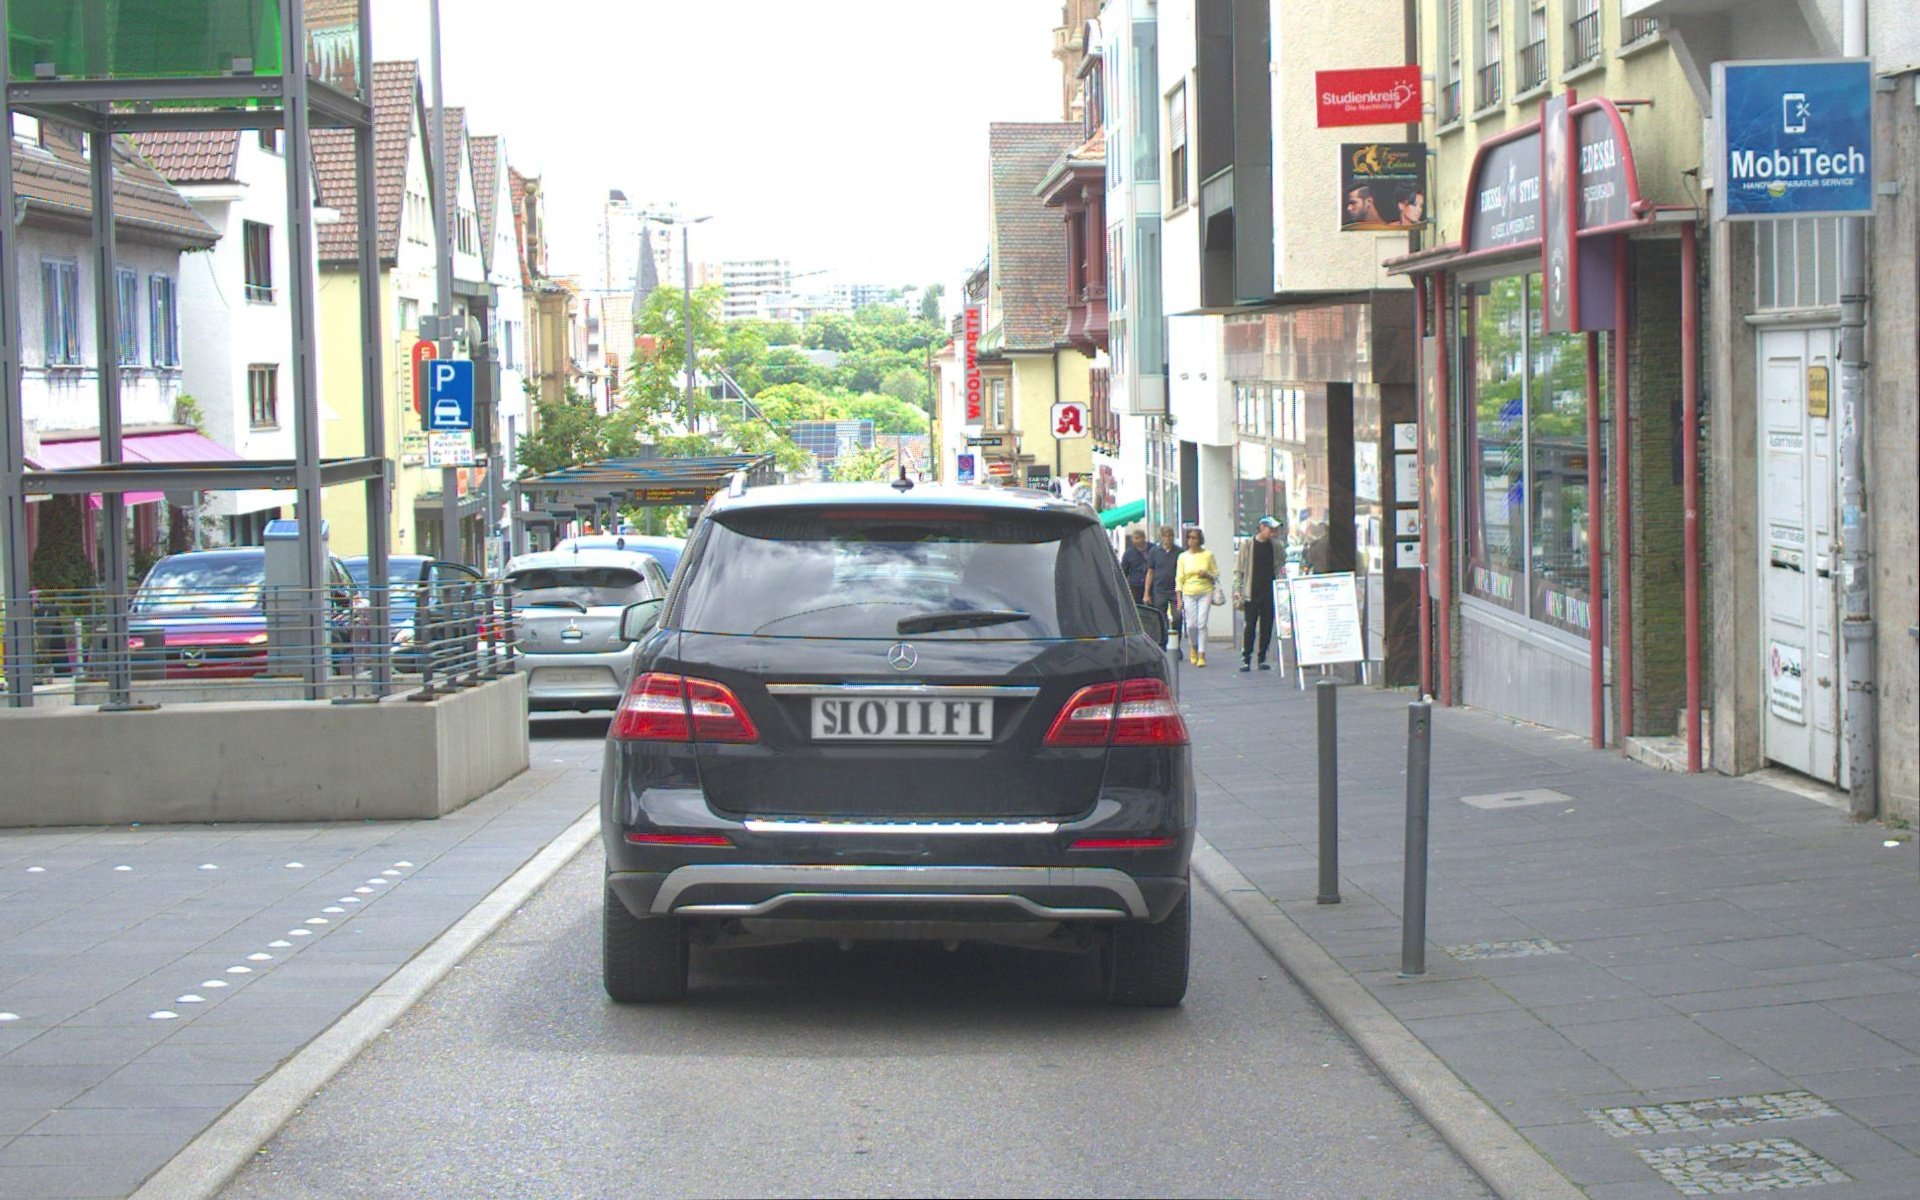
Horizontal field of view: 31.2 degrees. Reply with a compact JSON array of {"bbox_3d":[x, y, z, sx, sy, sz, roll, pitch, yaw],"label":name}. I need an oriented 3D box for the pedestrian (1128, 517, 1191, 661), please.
[{"bbox_3d":[2.450,-0.139,42.298,0.711,1.747,0.785,0,1,-1],"label":"pedestrian"}]

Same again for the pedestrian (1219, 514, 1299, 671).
[{"bbox_3d":[3.303,-0.085,37.955,0.662,1.683,0.543,-4,1,-7],"label":"pedestrian"}]

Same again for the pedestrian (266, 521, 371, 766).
[{"bbox_3d":[-4.453,0.285,23.899,0.533,1.666,0.901,0,1,1],"label":"pedestrian"}]

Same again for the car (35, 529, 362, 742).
[{"bbox_3d":[-5.944,0.236,27.292,1.739,1.537,4.193,1,1,-1],"label":"car"}]

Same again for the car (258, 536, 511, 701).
[{"bbox_3d":[-5.620,0.133,33.983,1.739,1.470,3.884,1,1,1],"label":"car"}]

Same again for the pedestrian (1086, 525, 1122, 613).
[{"bbox_3d":[2.758,-0.595,65.806,0.573,1.683,0.566,1,0,-7],"label":"pedestrian"}]

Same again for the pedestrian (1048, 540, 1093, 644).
[{"bbox_3d":[1.795,-0.137,55.993,0.621,1.683,0.566,1,0,-7],"label":"pedestrian"}]

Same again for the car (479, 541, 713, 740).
[{"bbox_3d":[-2.949,0.293,28.462,1.620,1.527,3.670,1,1,-1],"label":"car"}]

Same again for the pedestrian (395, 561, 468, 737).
[{"bbox_3d":[-4.386,0.403,28.547,0.466,1.427,0.492,-3,1,-1],"label":"pedestrian"}]

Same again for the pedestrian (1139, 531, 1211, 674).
[{"bbox_3d":[2.521,0.022,40.432,0.711,1.625,0.835,-3,1,-1],"label":"pedestrian"}]

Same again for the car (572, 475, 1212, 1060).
[{"bbox_3d":[-0.304,0.484,12.348,1.900,1.741,4.001,1,1,-3],"label":"car"}]

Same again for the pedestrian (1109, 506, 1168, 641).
[{"bbox_3d":[2.332,-0.350,45.009,0.711,1.747,0.787,0,1,-1],"label":"pedestrian"}]

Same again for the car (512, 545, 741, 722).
[{"bbox_3d":[-3.263,0.290,34.374,1.956,1.634,4.315,1,1,-1],"label":"car"}]

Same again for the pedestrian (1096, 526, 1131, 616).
[{"bbox_3d":[2.908,-0.558,65.159,0.573,1.683,0.566,-1,1,-7],"label":"pedestrian"}]
